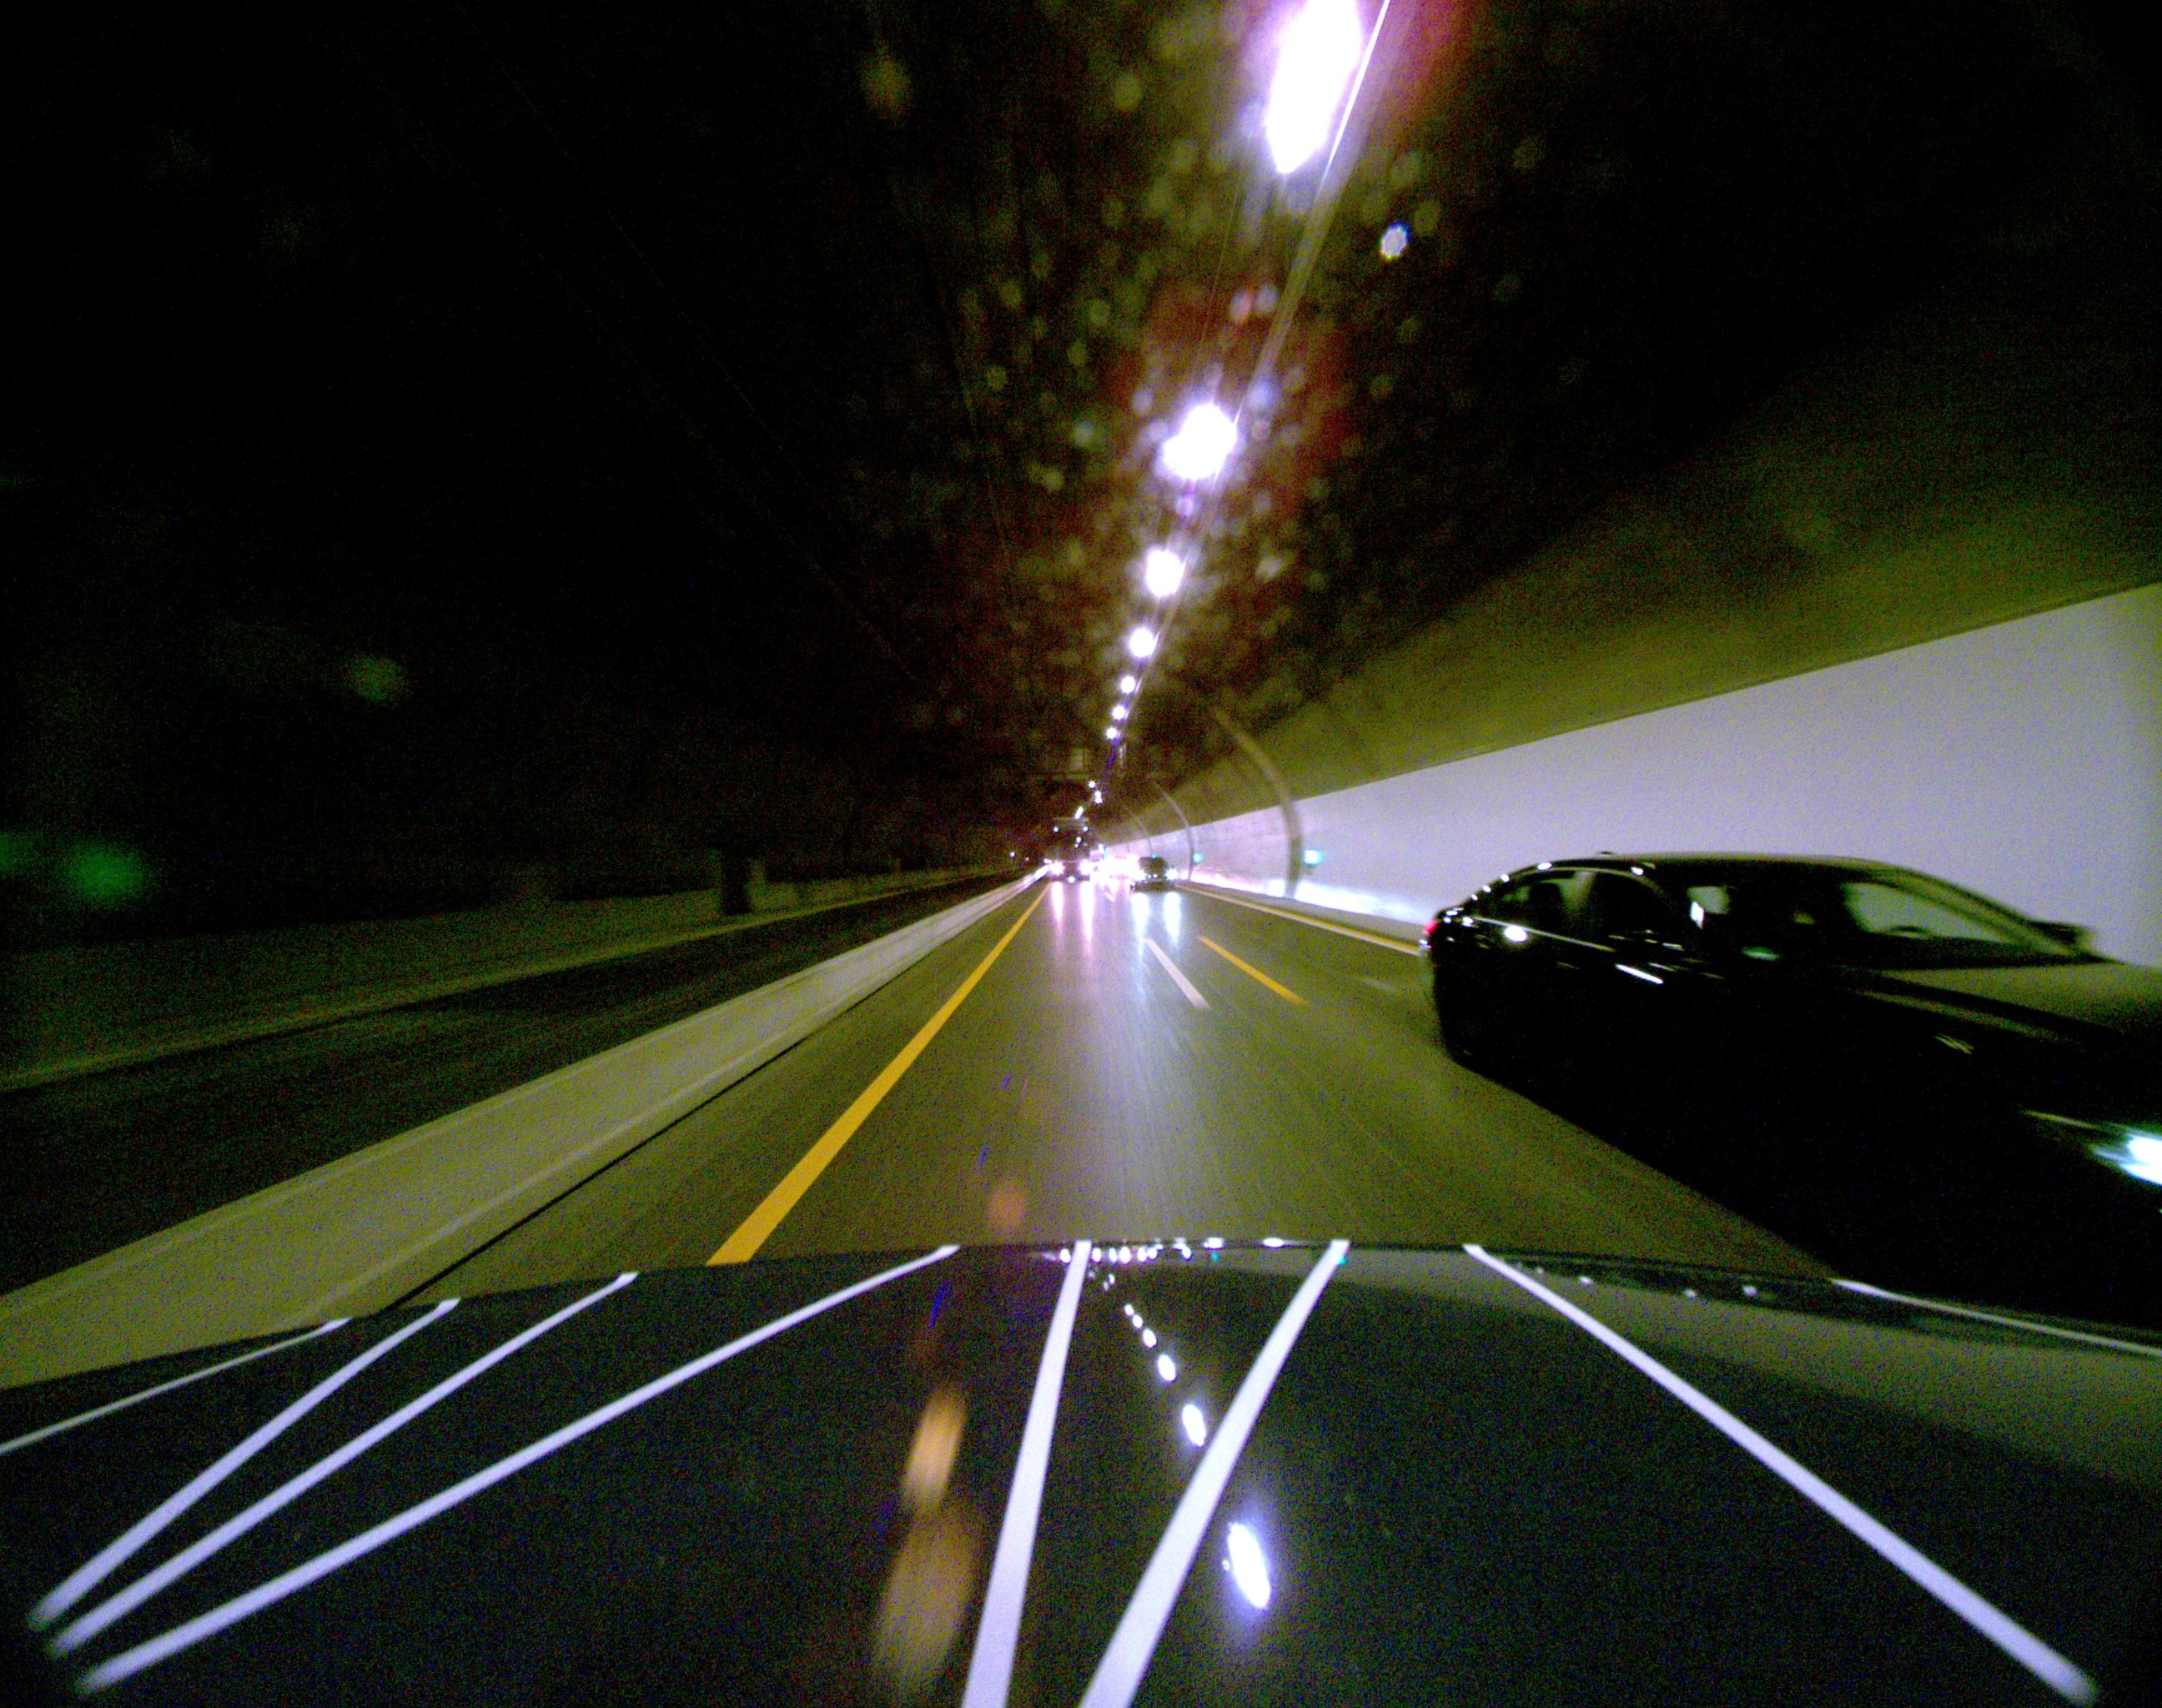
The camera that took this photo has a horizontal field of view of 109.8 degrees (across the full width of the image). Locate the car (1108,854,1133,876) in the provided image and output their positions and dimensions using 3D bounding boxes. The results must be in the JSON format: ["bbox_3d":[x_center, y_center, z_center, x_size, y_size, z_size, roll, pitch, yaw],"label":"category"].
[{"bbox_3d":[2.810,0.746,54.315,1.531,1.508,2.651,-2,0,-1],"label":"car"}]

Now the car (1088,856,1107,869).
[{"bbox_3d":[1.882,0.922,86.749,1.909,1.412,4.060,-2,0,-1],"label":"car"}]

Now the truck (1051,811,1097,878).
[{"bbox_3d":[-0.508,-0.595,52.083,2.742,4.127,8.099,-2,0,-1],"label":"truck"}]

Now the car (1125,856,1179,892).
[{"bbox_3d":[3.143,0.846,34.584,1.783,1.430,4.881,-2,0,-3],"label":"car"}]

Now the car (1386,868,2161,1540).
[{"bbox_3d":[3.419,0.865,3.812,1.782,1.430,4.882,-2,0,0],"label":"car"}]
